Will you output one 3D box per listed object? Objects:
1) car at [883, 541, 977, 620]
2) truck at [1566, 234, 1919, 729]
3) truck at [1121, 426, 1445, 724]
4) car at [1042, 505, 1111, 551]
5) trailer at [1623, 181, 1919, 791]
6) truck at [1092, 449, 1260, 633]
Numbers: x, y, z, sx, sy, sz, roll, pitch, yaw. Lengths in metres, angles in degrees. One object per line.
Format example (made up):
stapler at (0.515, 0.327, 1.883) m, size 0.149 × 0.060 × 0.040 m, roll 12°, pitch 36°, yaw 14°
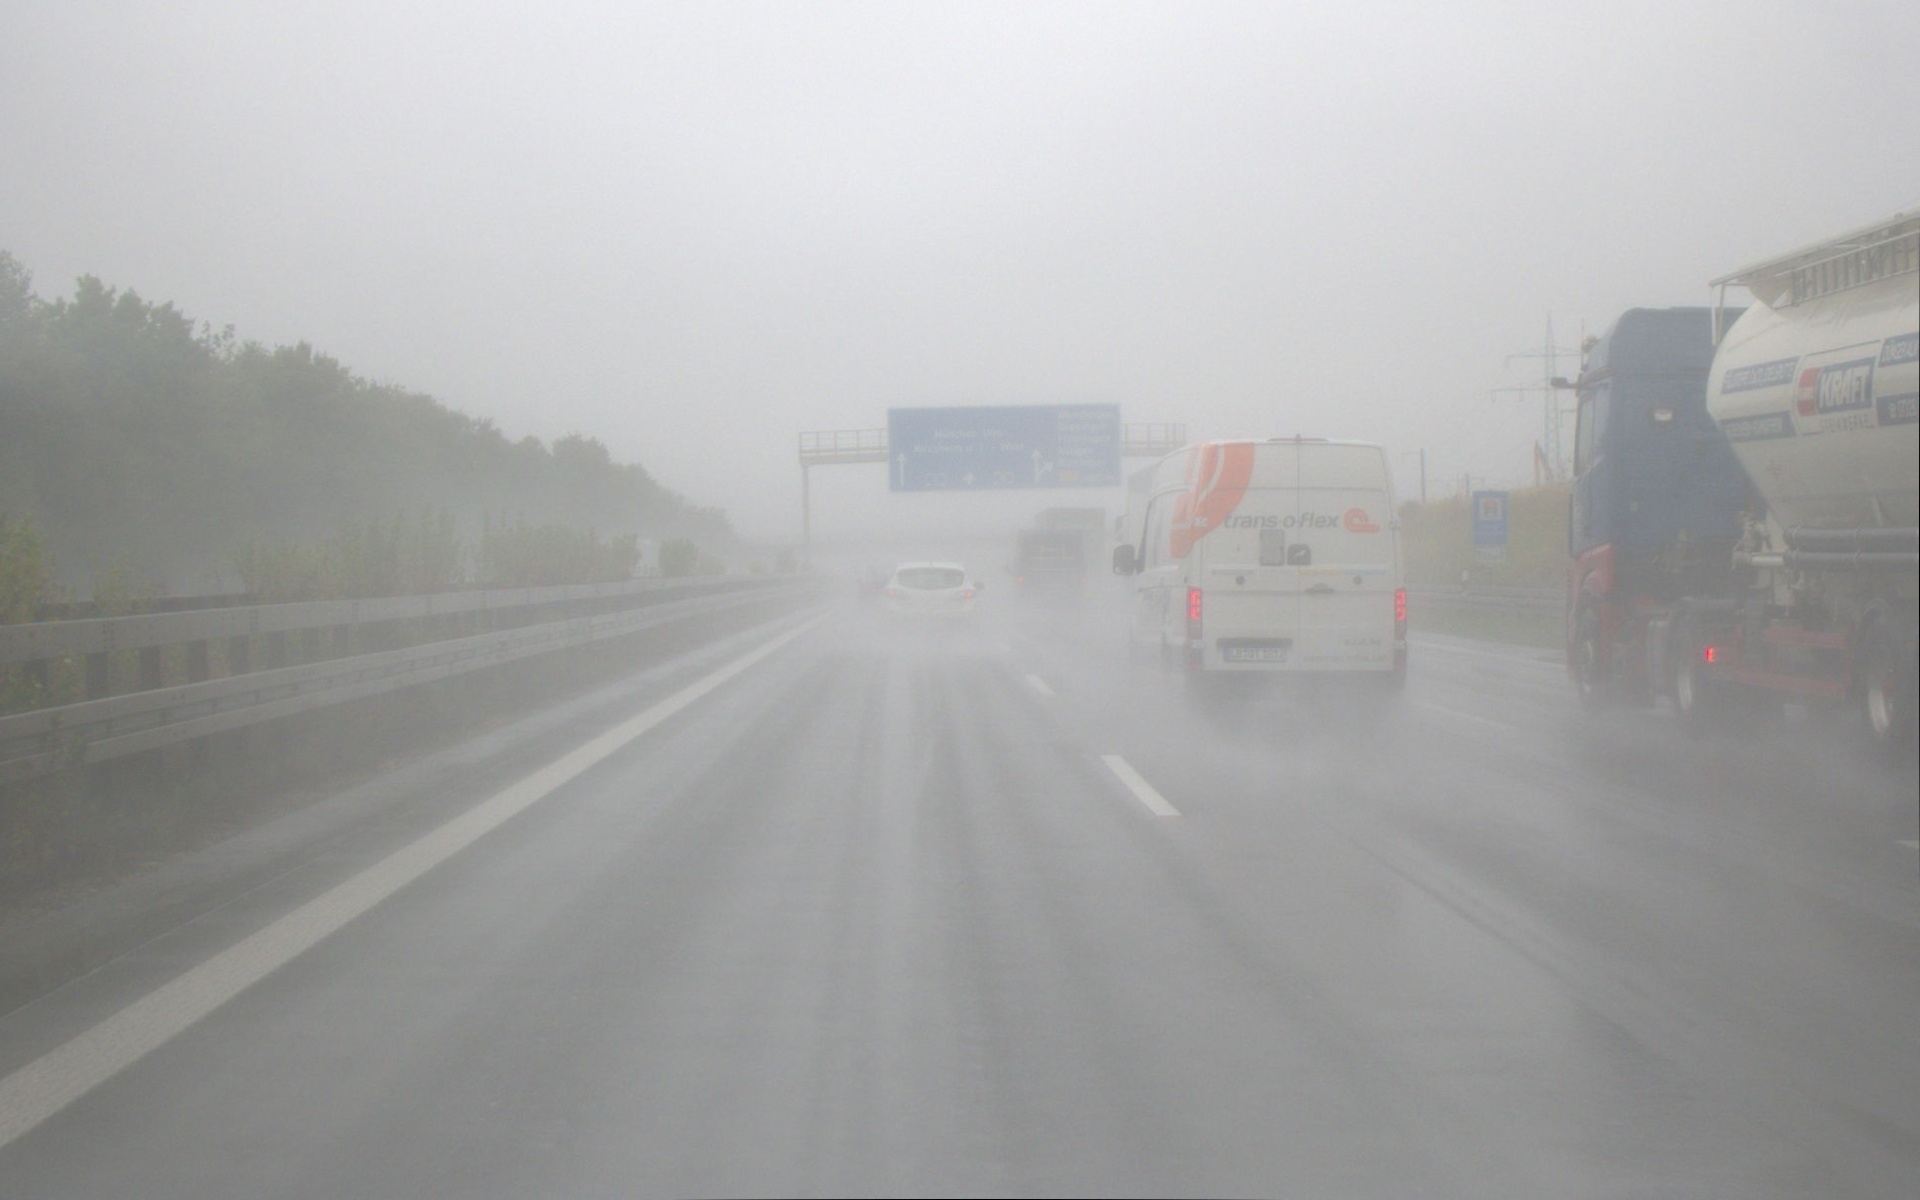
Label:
car at (-0.555, -0.368, 61.717) m, size 1.605 × 1.333 × 3.849 m, roll 1°, pitch 1°, yaw -1°
truck at (7.135, -1.006, 30.305) m, size 2.496 × 3.970 × 5.076 m, roll 1°, pitch 1°, yaw -1°
truck at (2.859, -0.273, 31.822) m, size 2.419 × 2.484 × 5.560 m, roll 1°, pitch 1°, yaw 0°
car at (5.196, -3.244, 154.257) m, size 2.788 × 2.007 × 4.993 m, roll 1°, pitch 1°, yaw -1°
trailer at (7.259, -0.780, 24.739) m, size 2.497 × 3.869 × 11.068 m, roll 1°, pitch 1°, yaw -2°
truck at (5.729, -1.523, 94.223) m, size 3.039 × 4.572 × 16.352 m, roll 1°, pitch 0°, yaw -2°
